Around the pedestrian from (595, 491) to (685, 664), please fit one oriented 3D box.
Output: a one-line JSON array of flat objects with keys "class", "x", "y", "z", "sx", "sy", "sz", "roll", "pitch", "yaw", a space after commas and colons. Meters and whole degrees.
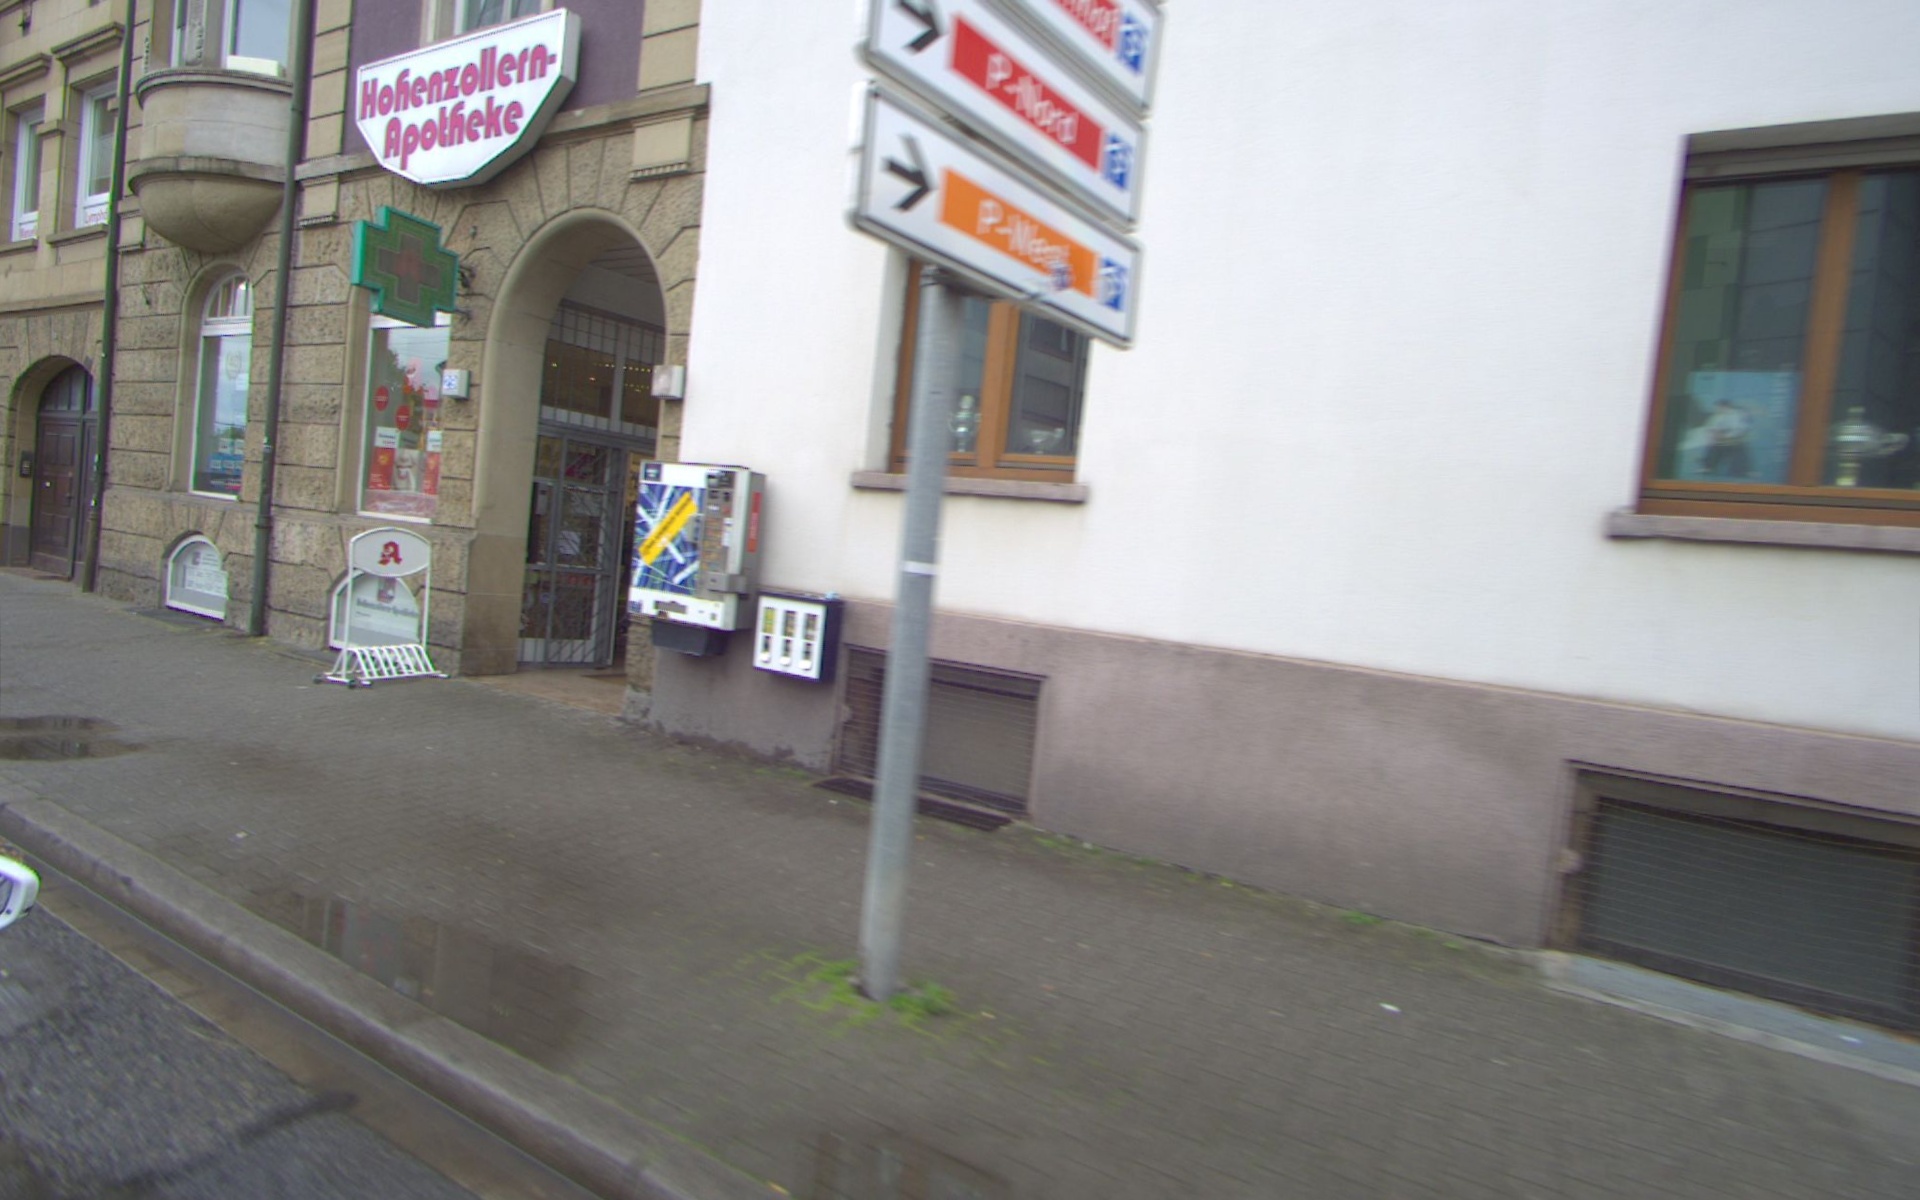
[{"class": "pedestrian", "x": -3.477, "y": -0.253, "z": 10.878, "sx": 0.666, "sy": 1.743, "sz": 0.895, "roll": 5, "pitch": 3, "yaw": -26}]
